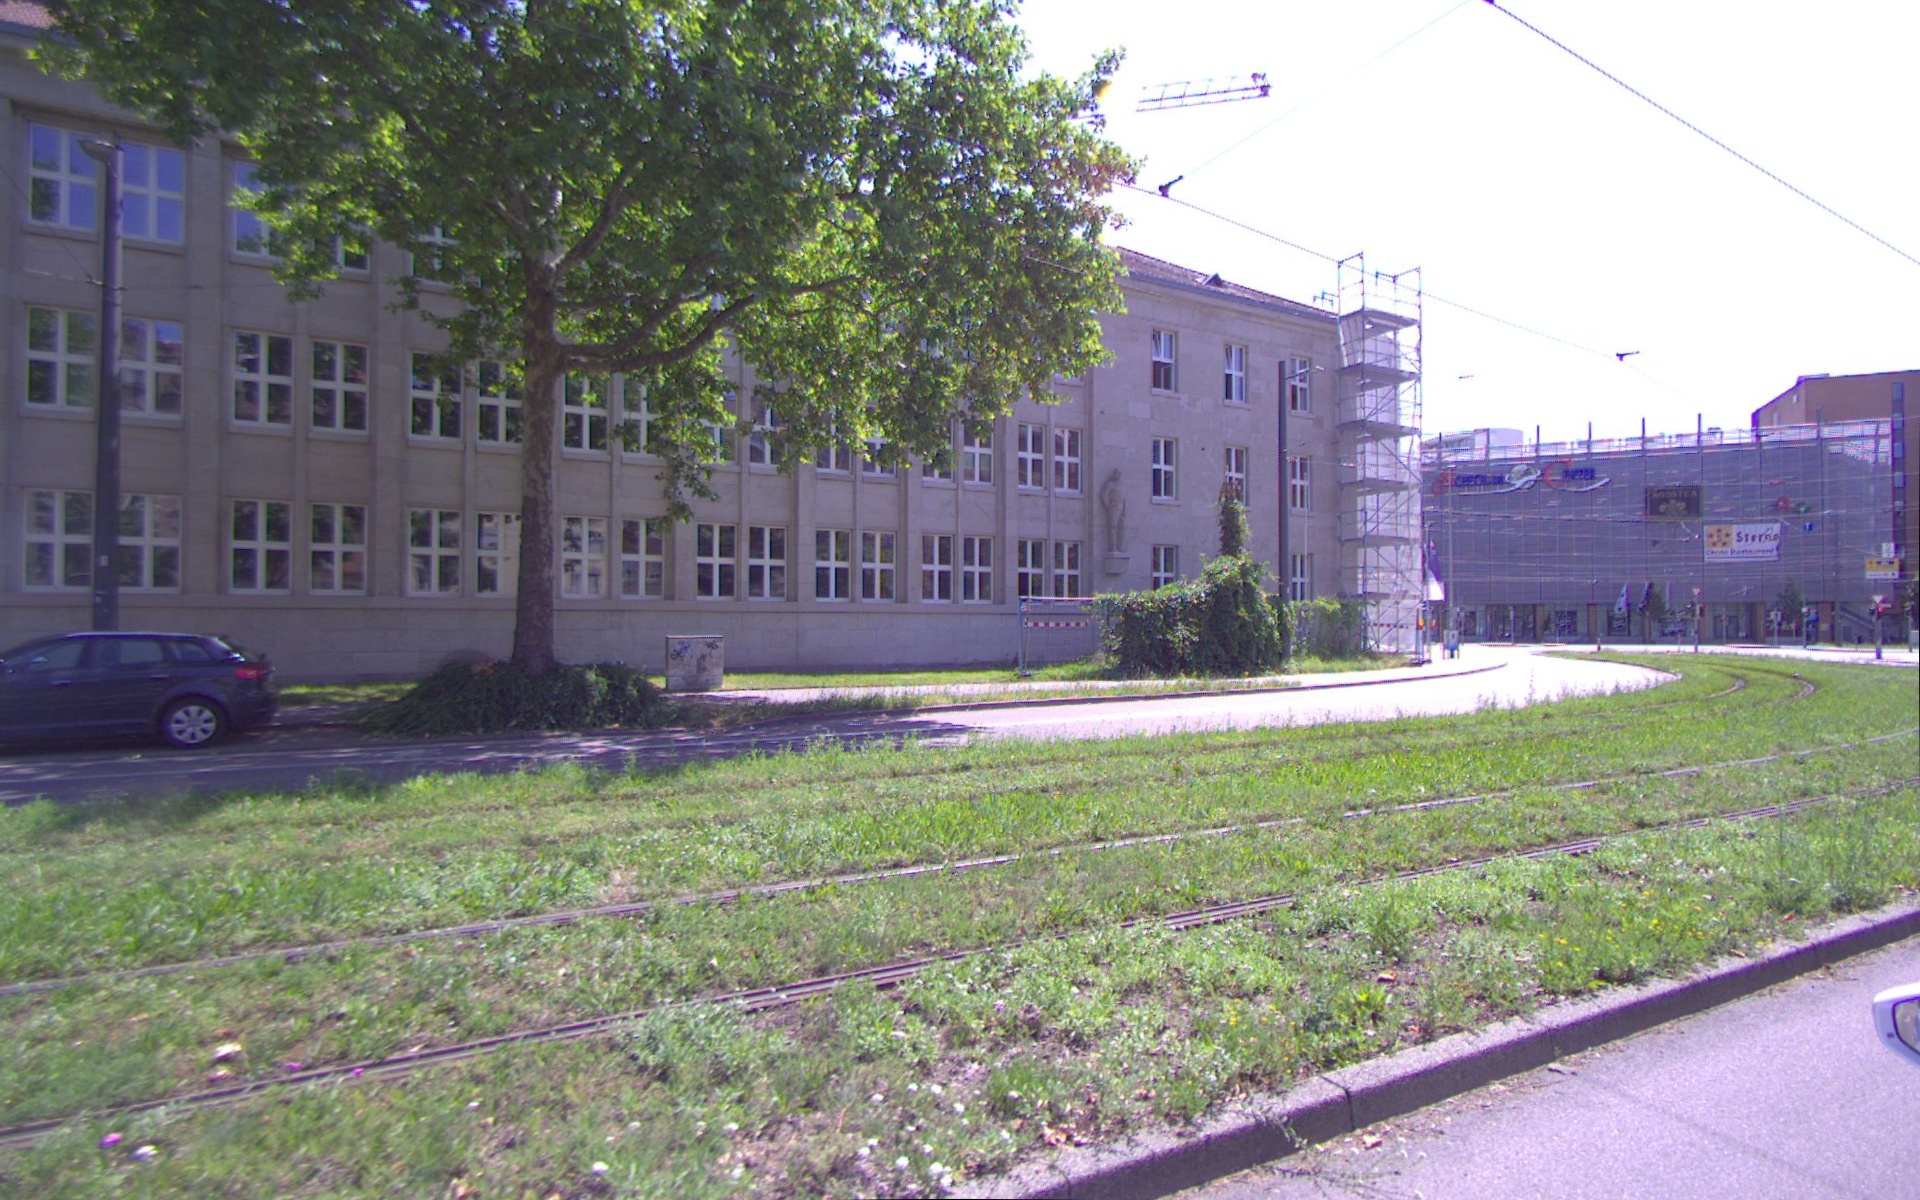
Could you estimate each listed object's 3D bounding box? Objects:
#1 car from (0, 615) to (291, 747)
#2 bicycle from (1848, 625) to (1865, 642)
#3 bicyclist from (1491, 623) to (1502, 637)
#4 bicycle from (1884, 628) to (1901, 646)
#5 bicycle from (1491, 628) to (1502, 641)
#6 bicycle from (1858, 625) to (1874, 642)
[{"bbox_3d":[-10.736,0.929,12.210,4.277,1.443,1.578,1,0,-33],"label":"car"},{"bbox_3d":[94.552,3.523,105.948,0.589,1.754,2.258,1,0,24],"label":"bicycle"},{"bbox_3d":[60.631,3.378,113.453,1.024,1.592,0.776,1,0,30],"label":"bicyclist"},{"bbox_3d":[96.926,3.852,104.439,0.589,1.754,2.258,1,0,24],"label":"bicycle"},{"bbox_3d":[60.587,3.914,113.392,1.046,1.409,3.018,1,0,30],"label":"bicycle"},{"bbox_3d":[95.237,3.507,105.627,0.589,1.754,2.258,1,0,24],"label":"bicycle"}]
